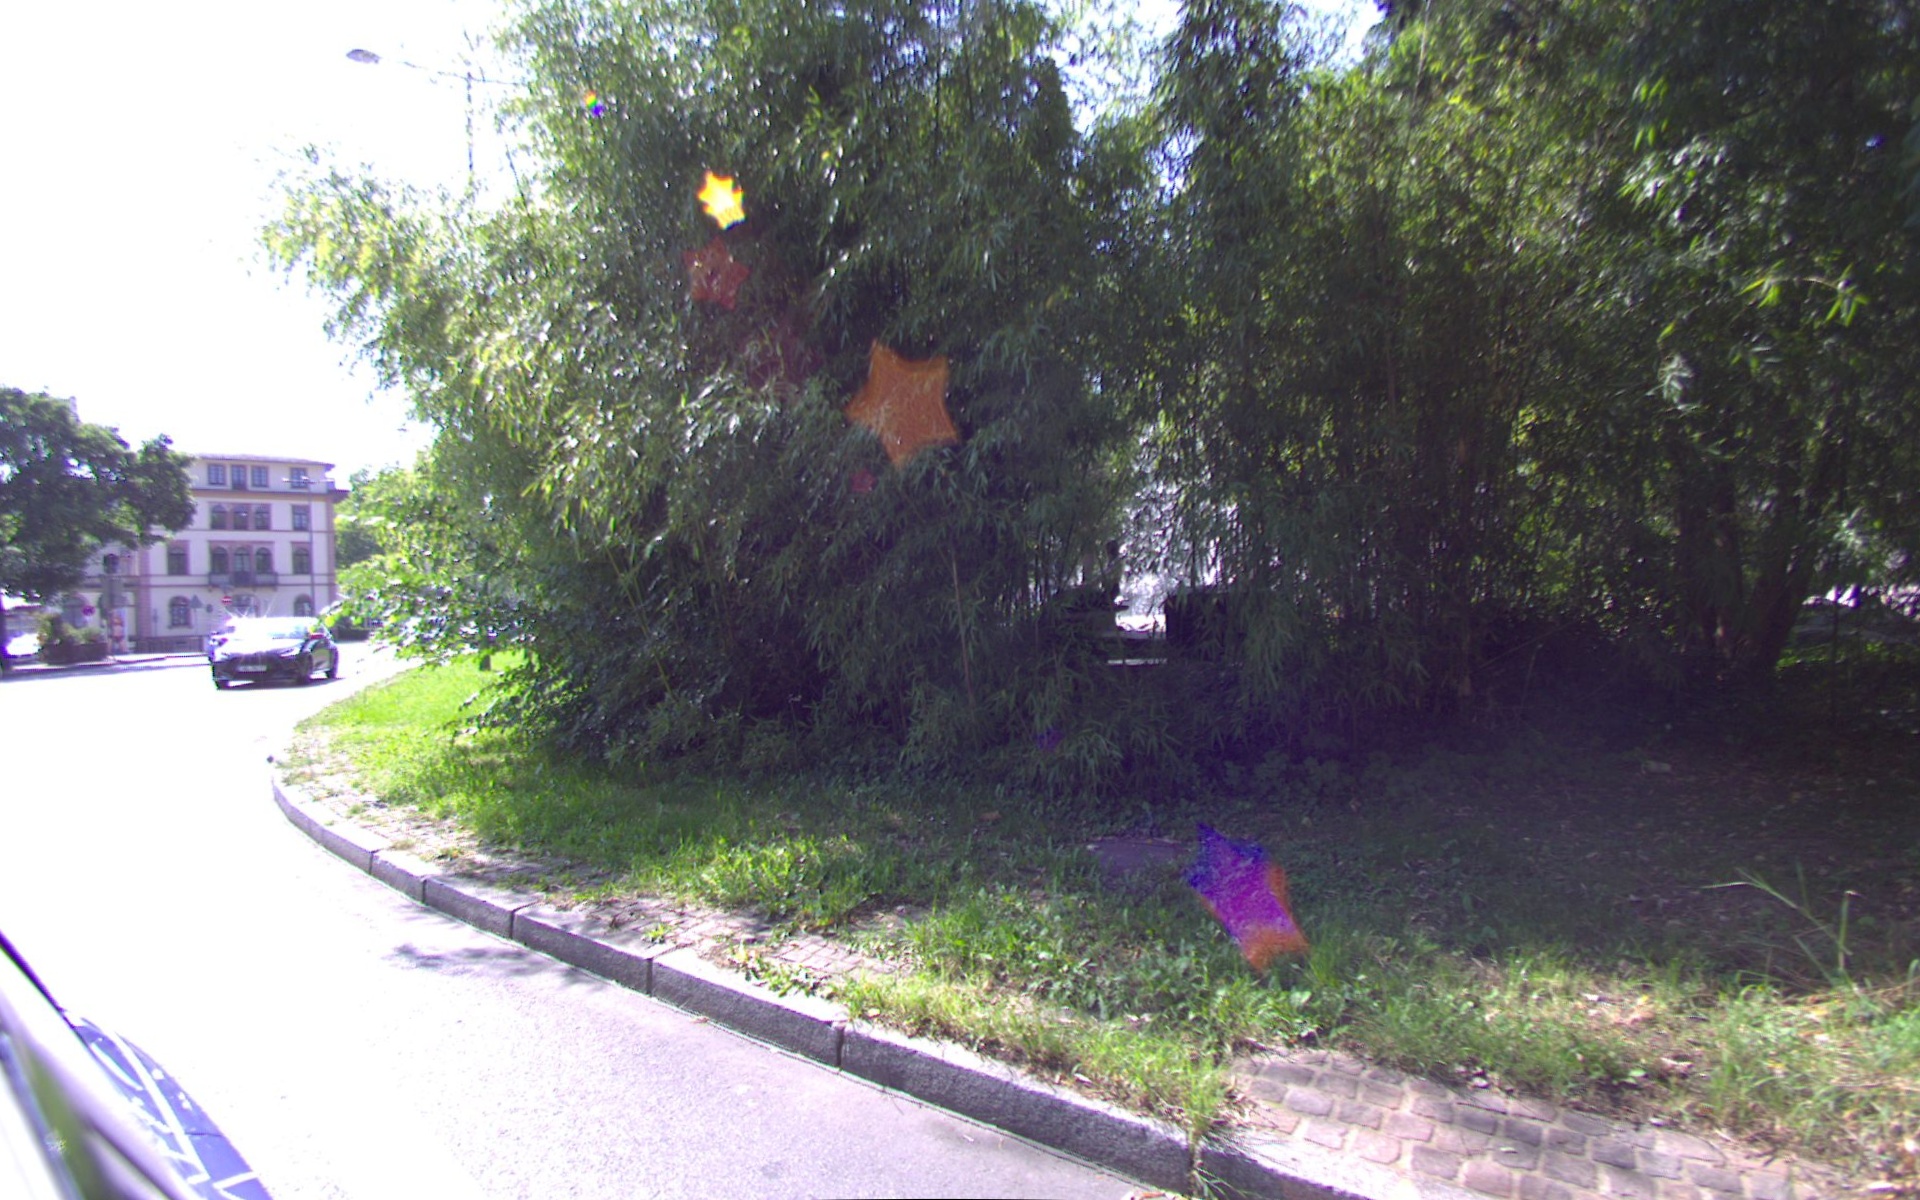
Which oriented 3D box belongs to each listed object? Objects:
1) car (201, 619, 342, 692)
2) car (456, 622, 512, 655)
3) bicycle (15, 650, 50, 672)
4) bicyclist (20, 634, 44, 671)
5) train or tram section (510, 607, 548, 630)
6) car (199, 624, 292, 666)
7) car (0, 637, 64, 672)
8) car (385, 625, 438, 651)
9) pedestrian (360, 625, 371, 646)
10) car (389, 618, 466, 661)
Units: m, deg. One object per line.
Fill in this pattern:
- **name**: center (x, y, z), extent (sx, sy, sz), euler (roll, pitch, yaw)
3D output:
- **car**: center (-15.428, 1.190, 22.917), extent (1.761, 1.463, 4.294), euler (0, -1, -22)
- **car**: center (-22.769, 1.798, 48.572), extent (1.762, 1.481, 4.100), euler (-1, -1, -15)
- **bicycle**: center (-41.167, 2.697, 44.928), extent (0.583, 0.861, 1.750), euler (-2, -1, -24)
- **bicyclist**: center (-41.181, 2.323, 44.909), extent (0.583, 1.618, 0.686), euler (-2, -1, -24)
- **train or tram section**: center (-65.615, 2.816, 153.996), extent (2.693, 3.292, 8.748), euler (-2, -1, -41)
- **car**: center (-27.453, 1.686, 39.055), extent (1.761, 1.524, 4.293), euler (0, -1, -18)
- **car**: center (-48.402, 2.790, 52.681), extent (1.791, 1.638, 4.894), euler (-2, -1, -32)
- **car**: center (-32.847, 2.232, 60.690), extent (1.762, 1.471, 4.099), euler (-1, -1, -13)
- **pedestrian**: center (-51.378, 3.044, 87.409), extent (0.714, 1.819, 0.654), euler (-2, -1, -34)
- **car**: center (-20.174, 1.460, 38.520), extent (1.762, 1.504, 4.100), euler (-1, -1, -15)
